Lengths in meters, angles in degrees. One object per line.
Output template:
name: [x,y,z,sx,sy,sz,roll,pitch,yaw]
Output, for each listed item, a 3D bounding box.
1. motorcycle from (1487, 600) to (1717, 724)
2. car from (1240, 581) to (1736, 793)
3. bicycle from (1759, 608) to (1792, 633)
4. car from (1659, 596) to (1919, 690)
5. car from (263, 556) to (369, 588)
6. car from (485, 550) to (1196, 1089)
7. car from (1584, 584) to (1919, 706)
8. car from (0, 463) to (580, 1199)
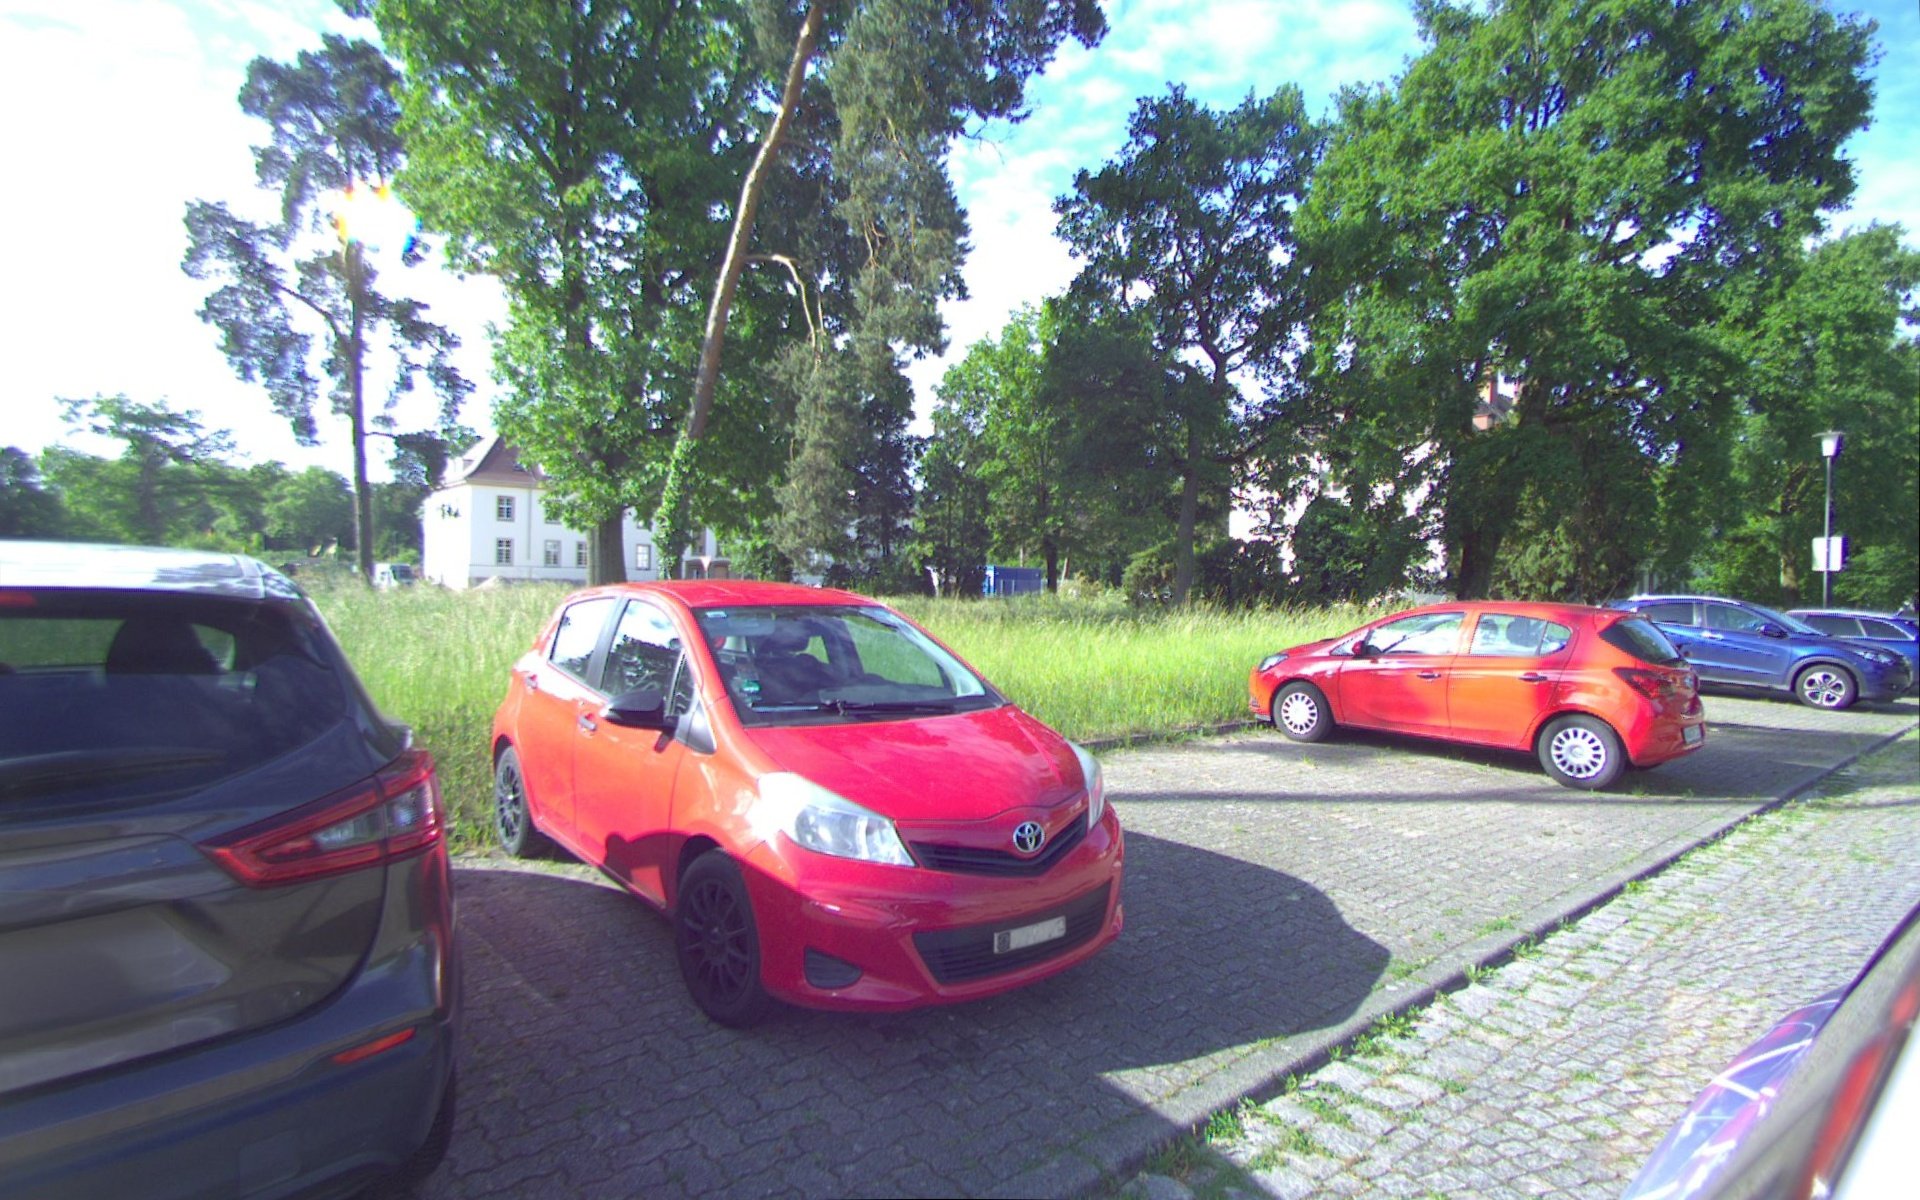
motorcycle: [8.007,0.713,12.743,0.713,1.336,2.305,1,2,-40]
car: [4.789,0.631,9.617,1.617,1.497,3.834,1,2,-41]
bicycle: [33.693,0.839,41.826,1.231,1.029,0.711,1,1,-33]
car: [16.085,0.749,19.055,1.682,1.425,4.464,1,3,-37]
car: [-45.112,-1.981,70.942,5.898,2.198,2.377,0,1,-2]
car: [-0.908,0.583,4.885,1.616,1.549,3.771,1,1,-39]
car: [12.572,0.604,16.086,1.720,1.611,4.185,1,1,-40]
car: [-2.721,0.568,2.947,1.741,1.642,3.943,1,1,-41]
